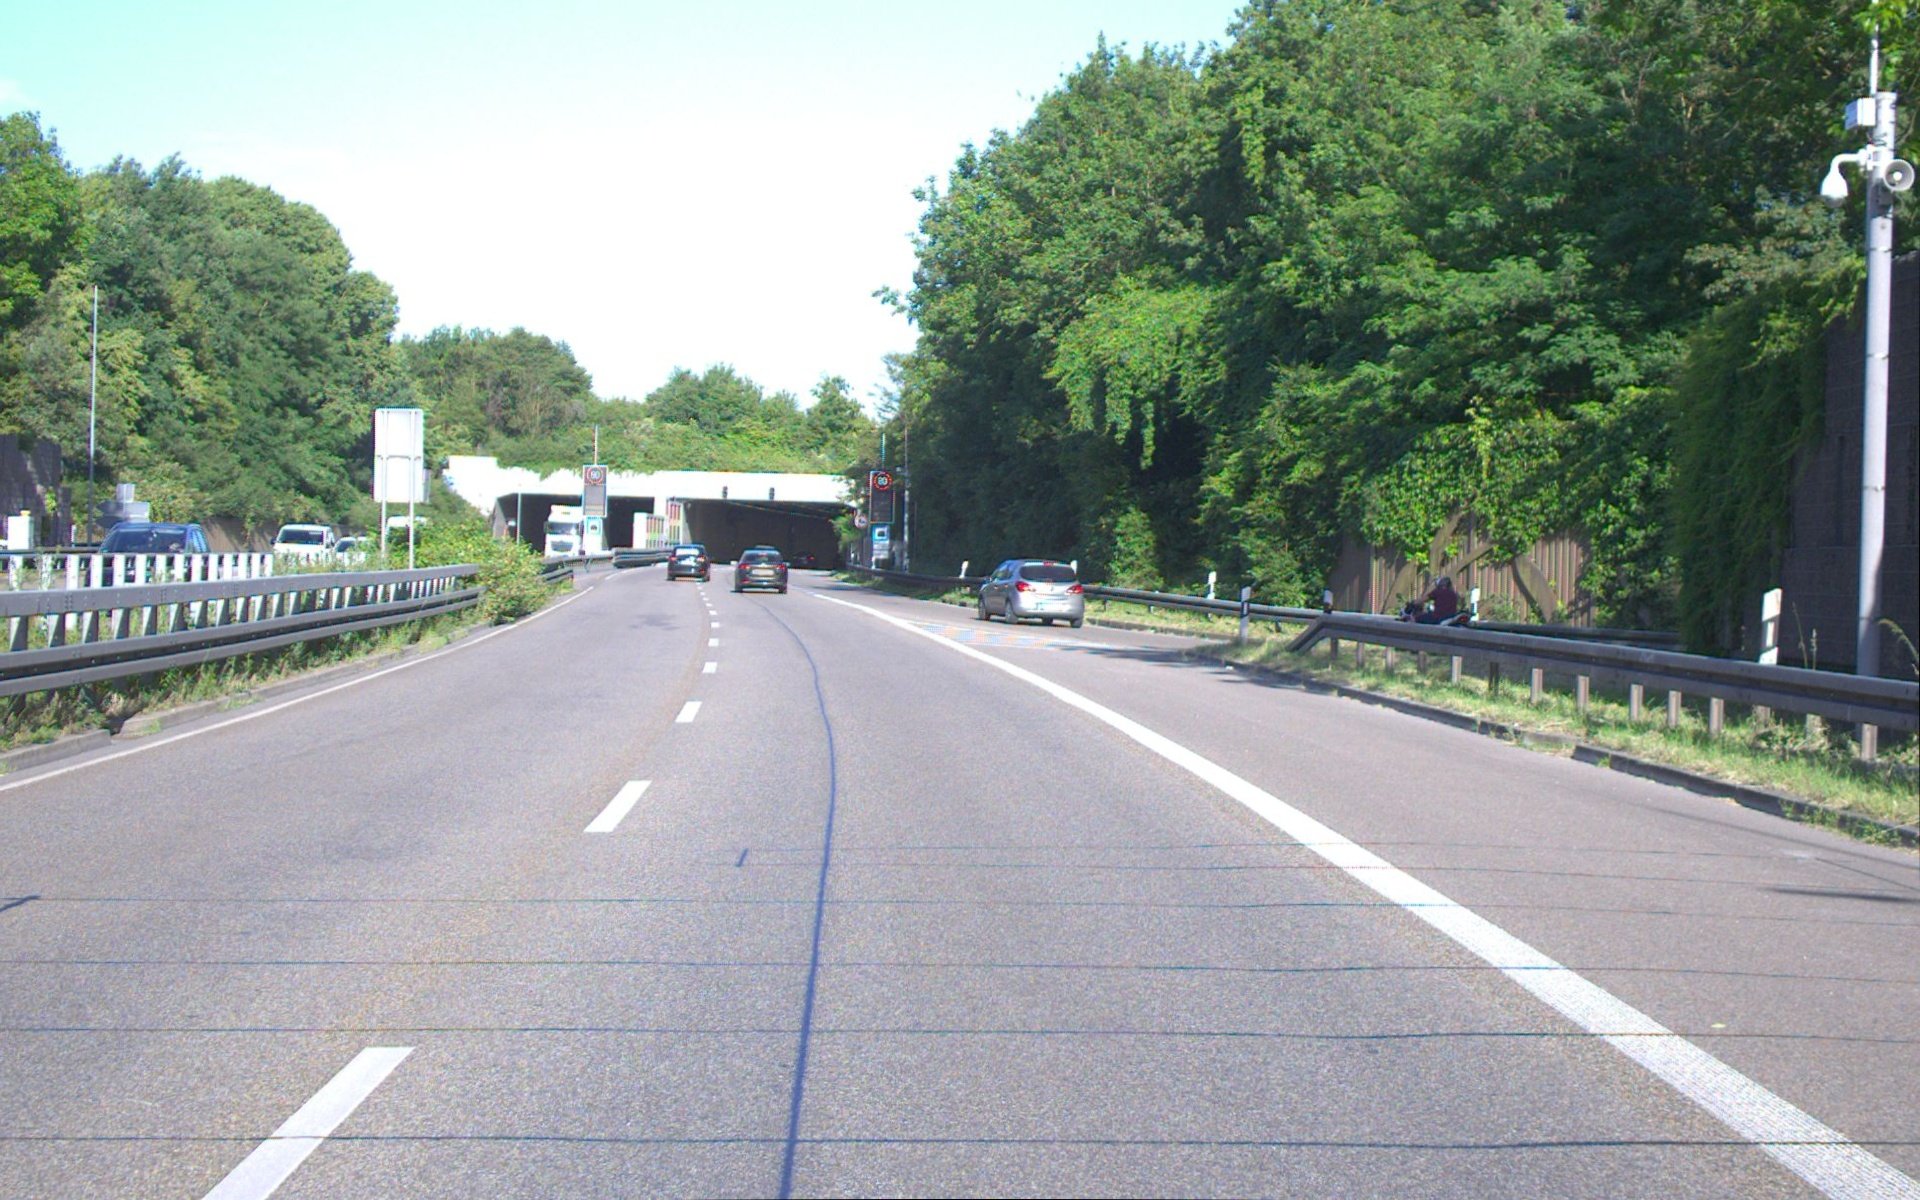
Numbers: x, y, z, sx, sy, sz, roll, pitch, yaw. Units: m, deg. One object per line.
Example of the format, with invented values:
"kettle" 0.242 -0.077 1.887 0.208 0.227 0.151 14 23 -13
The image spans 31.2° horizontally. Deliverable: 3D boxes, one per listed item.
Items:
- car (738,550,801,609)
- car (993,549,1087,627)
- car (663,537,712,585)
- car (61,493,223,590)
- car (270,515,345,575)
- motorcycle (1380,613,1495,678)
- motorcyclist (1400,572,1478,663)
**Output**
"car" -6.643 -0.727 119.644 1.993 1.919 4.001 2 1 -5
"car" 1.774 -0.293 77.111 1.667 1.546 4.001 3 2 -4
"car" -11.669 -1.690 146.908 1.993 1.919 4.001 2 1 -5
"car" -14.031 -1.038 59.185 1.993 1.573 4.248 1 2 -3
"car" -21.817 -1.857 115.125 1.822 1.815 4.622 3 2 -4
"motorcycle" 8.310 0.784 59.980 0.858 0.988 2.729 3 0 -17
"motorcyclist" 8.346 0.305 59.922 0.883 1.496 1.063 3 1 -18
